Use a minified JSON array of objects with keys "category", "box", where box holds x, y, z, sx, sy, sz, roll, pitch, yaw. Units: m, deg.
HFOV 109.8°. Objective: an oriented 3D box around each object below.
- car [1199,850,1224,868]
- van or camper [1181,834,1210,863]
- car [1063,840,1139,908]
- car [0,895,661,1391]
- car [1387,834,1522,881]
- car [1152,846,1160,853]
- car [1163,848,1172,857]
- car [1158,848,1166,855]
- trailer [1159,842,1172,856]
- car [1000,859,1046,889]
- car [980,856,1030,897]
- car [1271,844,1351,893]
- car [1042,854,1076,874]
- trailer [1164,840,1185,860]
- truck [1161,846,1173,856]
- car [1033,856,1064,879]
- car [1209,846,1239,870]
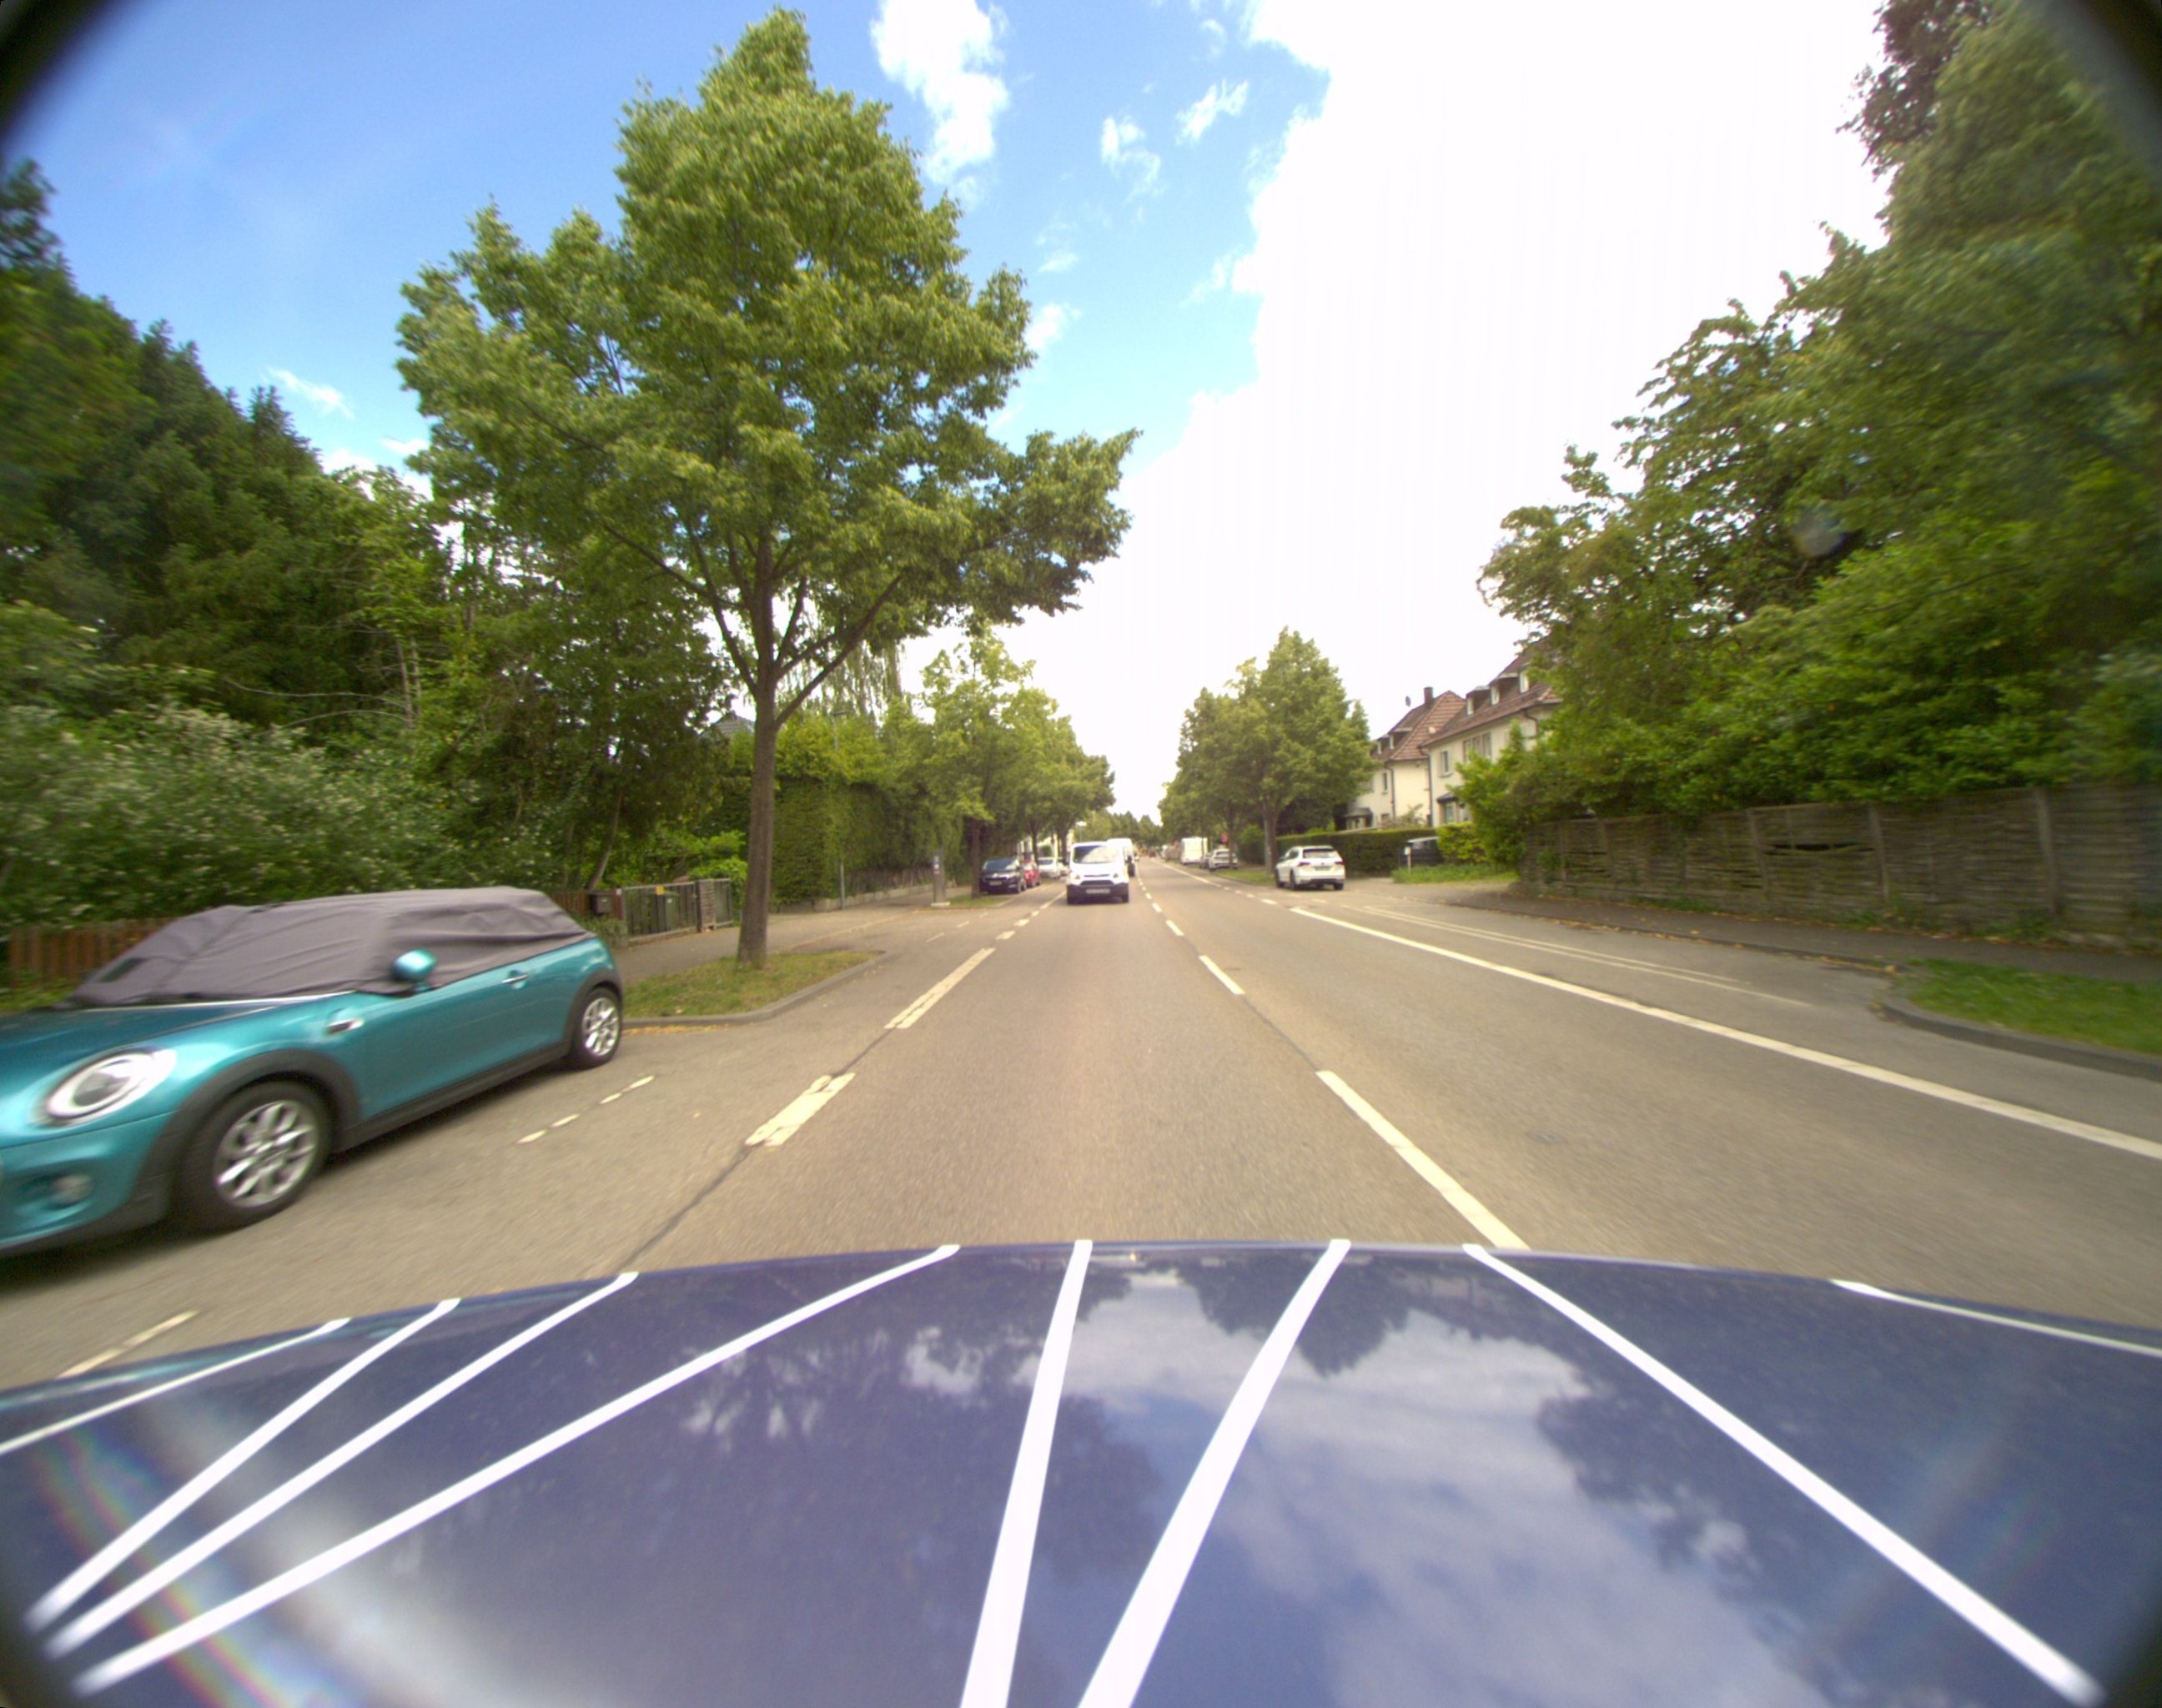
[{"category":"car","box":[11.417,0.405,66.724,1.559,1.461,4.452,-2,0,3]},{"category":"van or camper","box":[12.433,-0.607,82.695,2.440,2.992,7.694,-2,0,4]},{"category":"car","box":[0.808,0.591,25.812,1.997,2.002,5.321,-2,0,7]},{"category":"car","box":[-4.463,1.099,4.517,1.687,1.423,4.043,-2,0,-1]},{"category":"car","box":[13.997,0.136,28.664,4.207,1.576,1.765,-2,0,4]},{"category":"car","box":[19.213,-1.161,195.321,1.764,1.792,4.770,-2,0,4]},{"category":"car","box":[18.309,-0.343,161.402,1.692,1.674,4.226,-2,1,6]},{"category":"car","box":[24.540,-0.852,230.918,1.997,2.002,4.003,-2,0,9]},{"category":"trailer","box":[18.778,-1.059,167.823,2.376,2.946,7.014,-2,0,9]},{"category":"car","box":[-2.950,1.011,39.517,1.641,1.412,4.001,-2,0,6]},{"category":"car","box":[-3.310,0.945,33.725,1.642,1.606,4.170,-2,0,2]},{"category":"car","box":[8.807,0.496,29.498,1.878,1.678,4.867,-2,0,4]},{"category":"car","box":[-1.681,0.766,59.784,2.025,1.435,5.026,-3,0,5]},{"category":"trailer","box":[14.813,-0.618,120.196,2.680,2.924,7.476,-3,1,3]},{"category":"truck","box":[19.782,-0.771,174.486,2.299,2.274,6.467,-2,0,9]},{"category":"car","box":[-2.148,0.904,51.388,1.619,1.451,3.658,-2,0,4]},{"category":"car","box":[10.632,0.259,56.754,1.821,1.642,4.701,-3,0,6]}]
